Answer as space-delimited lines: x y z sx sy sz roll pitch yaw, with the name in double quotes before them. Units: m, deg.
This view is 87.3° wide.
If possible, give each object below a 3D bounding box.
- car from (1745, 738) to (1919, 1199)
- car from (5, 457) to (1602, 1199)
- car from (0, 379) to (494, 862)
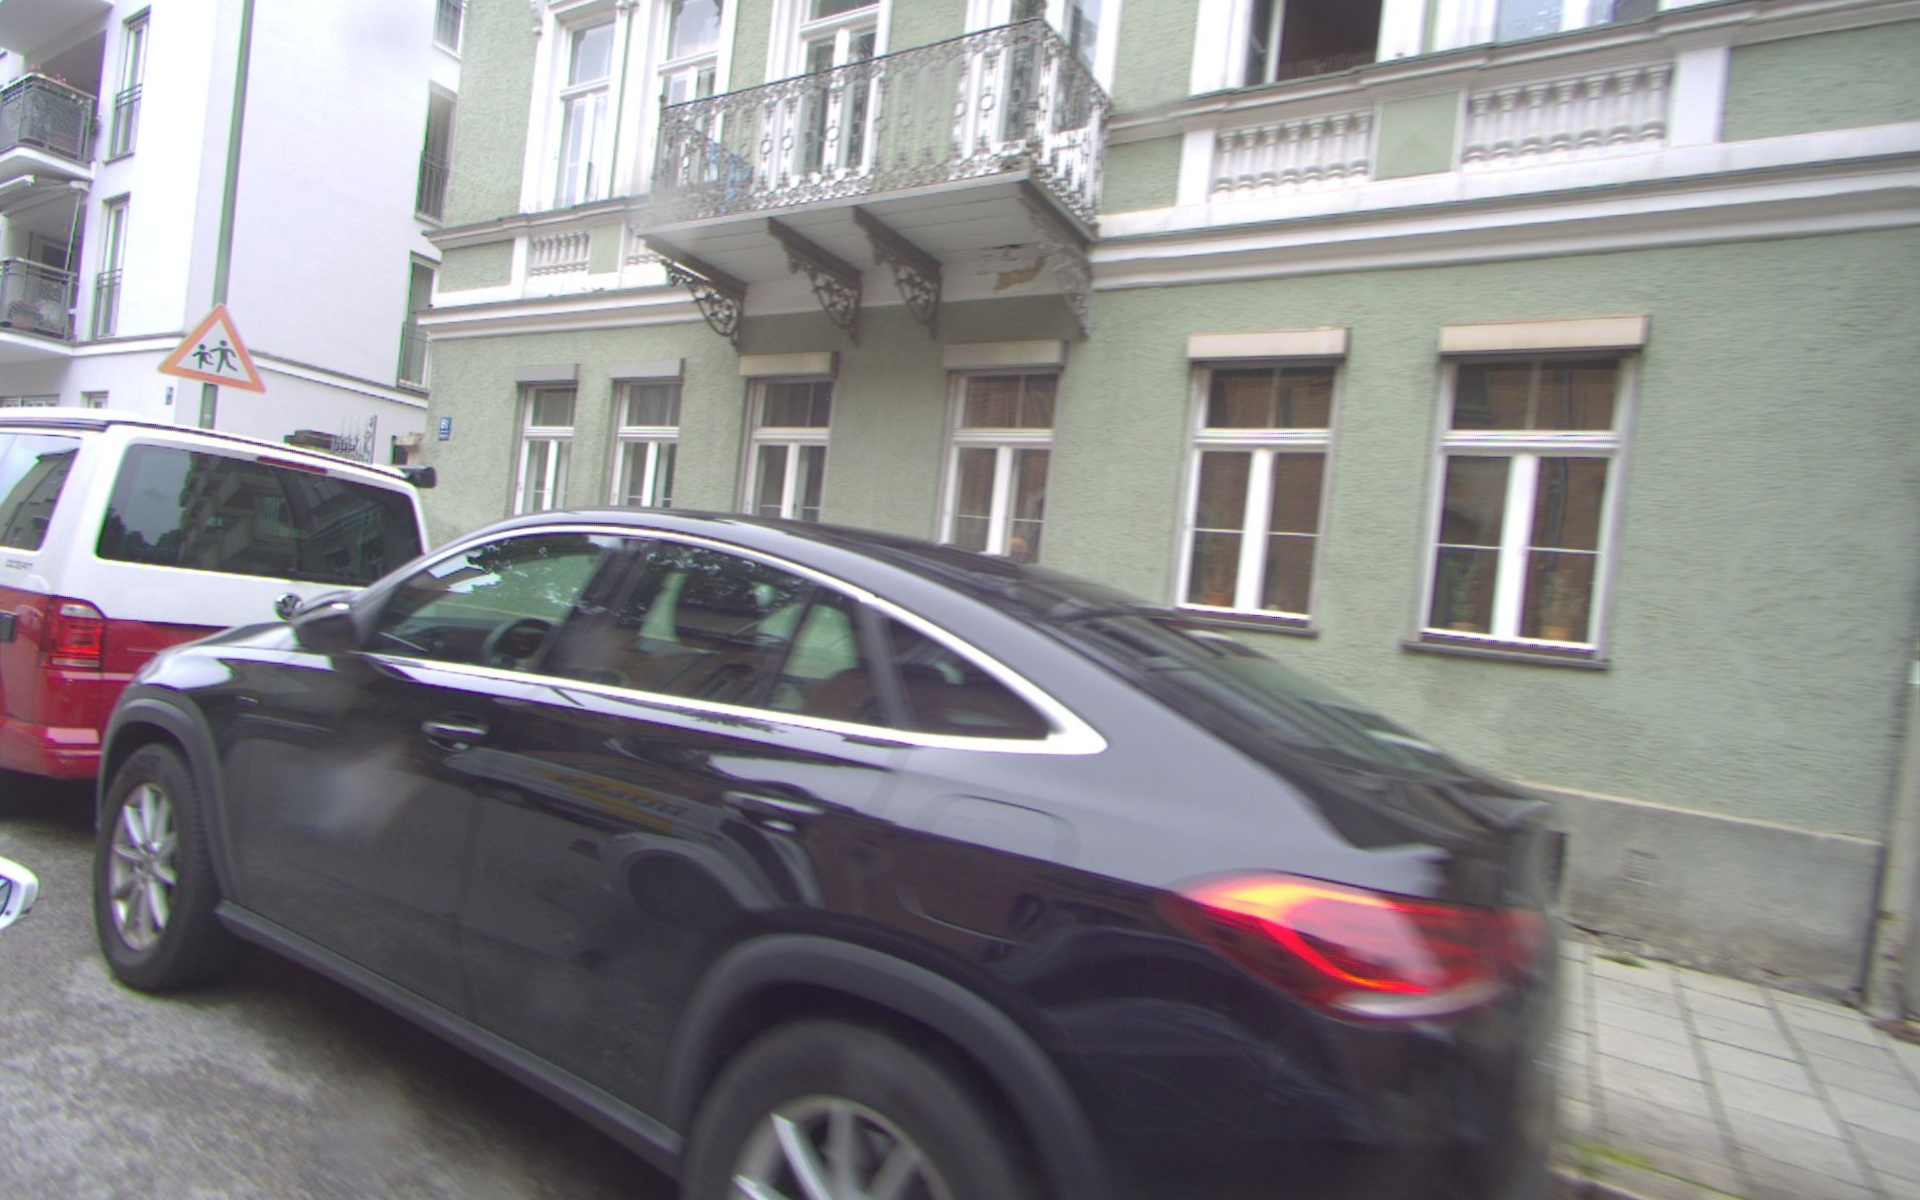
"car" 3.465 1.203 0.693 4.343 1.476 1.731 6 -2 31
"car" -0.868 0.544 3.183 4.674 1.571 1.862 6 0 31
"car" -5.245 -0.066 6.146 4.736 1.992 1.872 6 0 31
